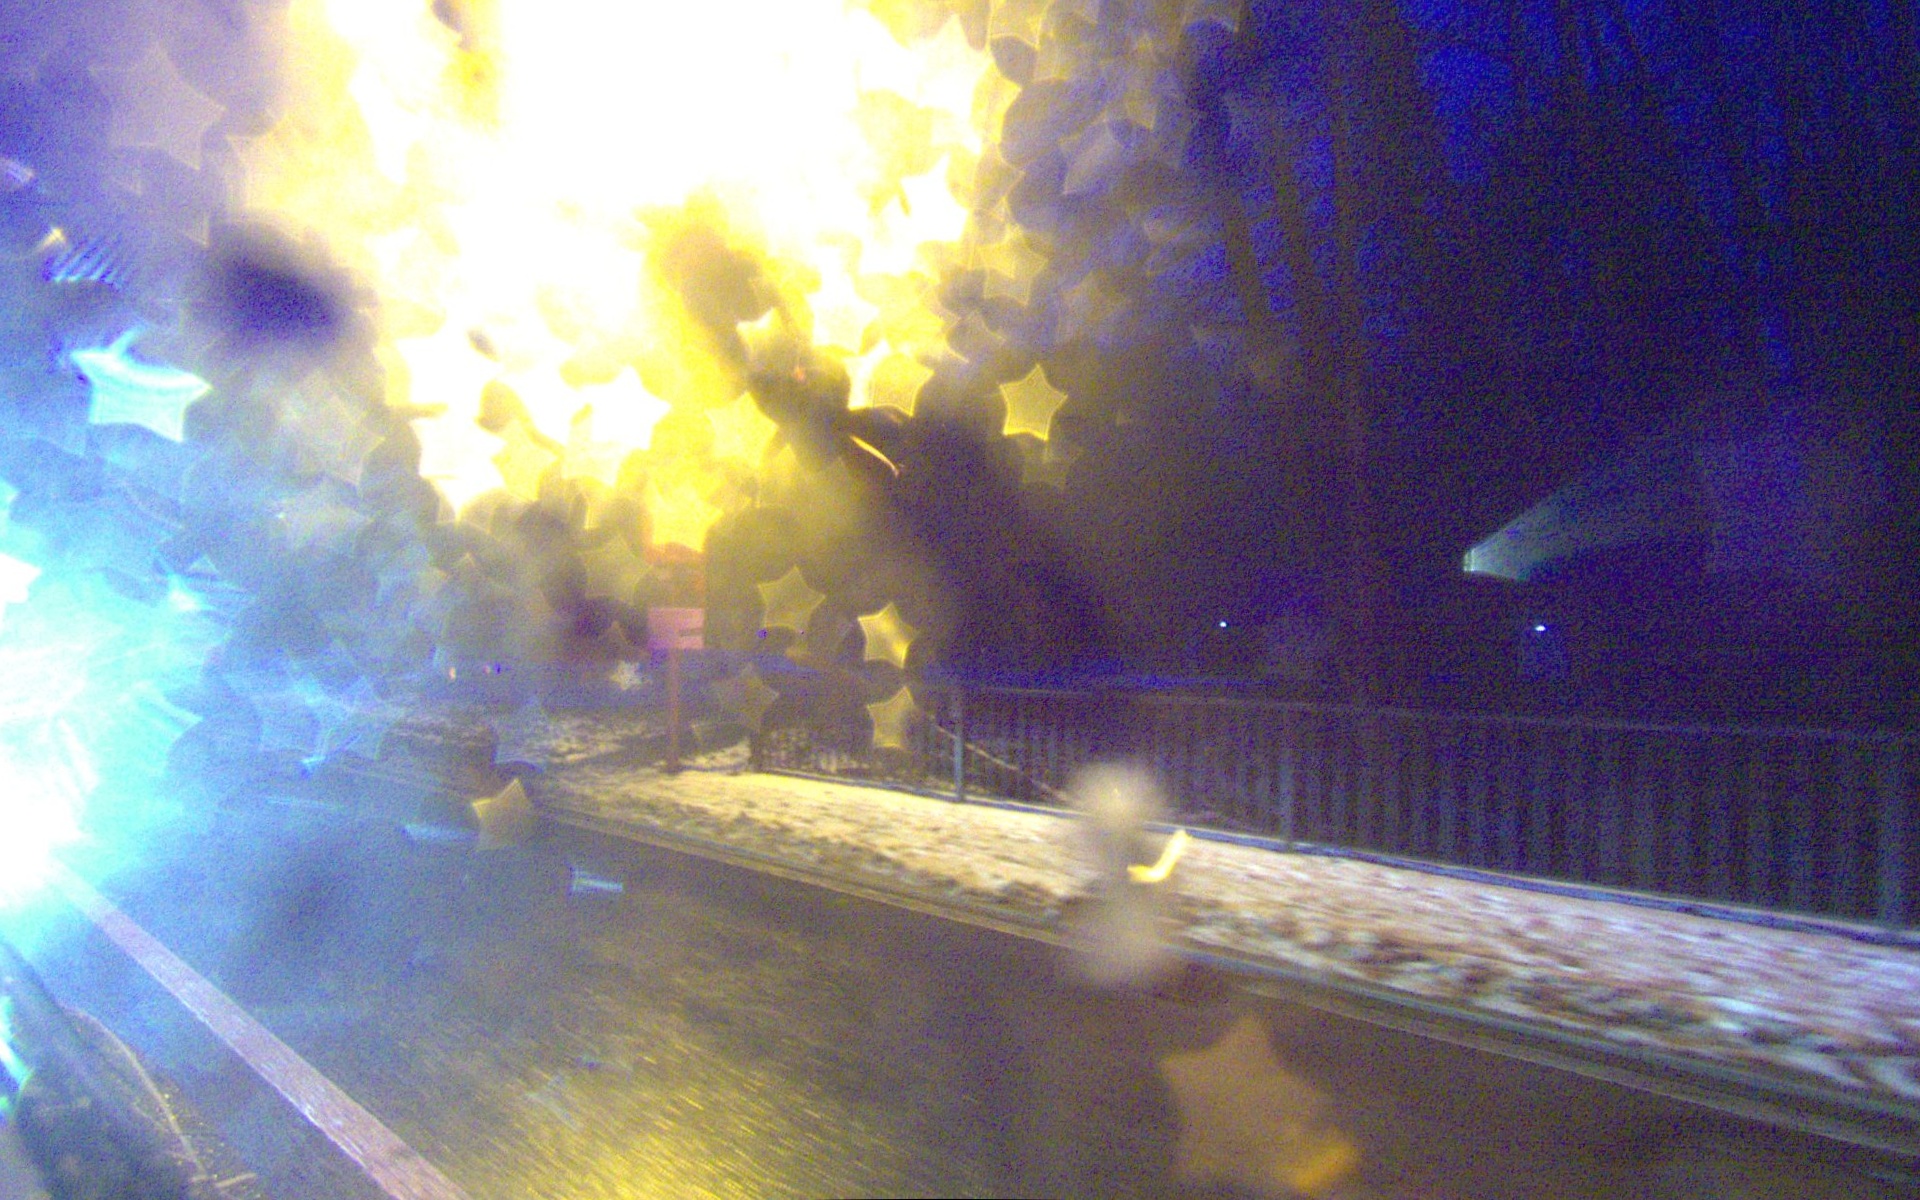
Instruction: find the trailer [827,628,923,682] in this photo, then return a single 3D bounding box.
[{"bbox_3d":[-3.878,2.503,46.203,3.745,2.234,1.980,4,-3,-31],"label":"trailer"}]
